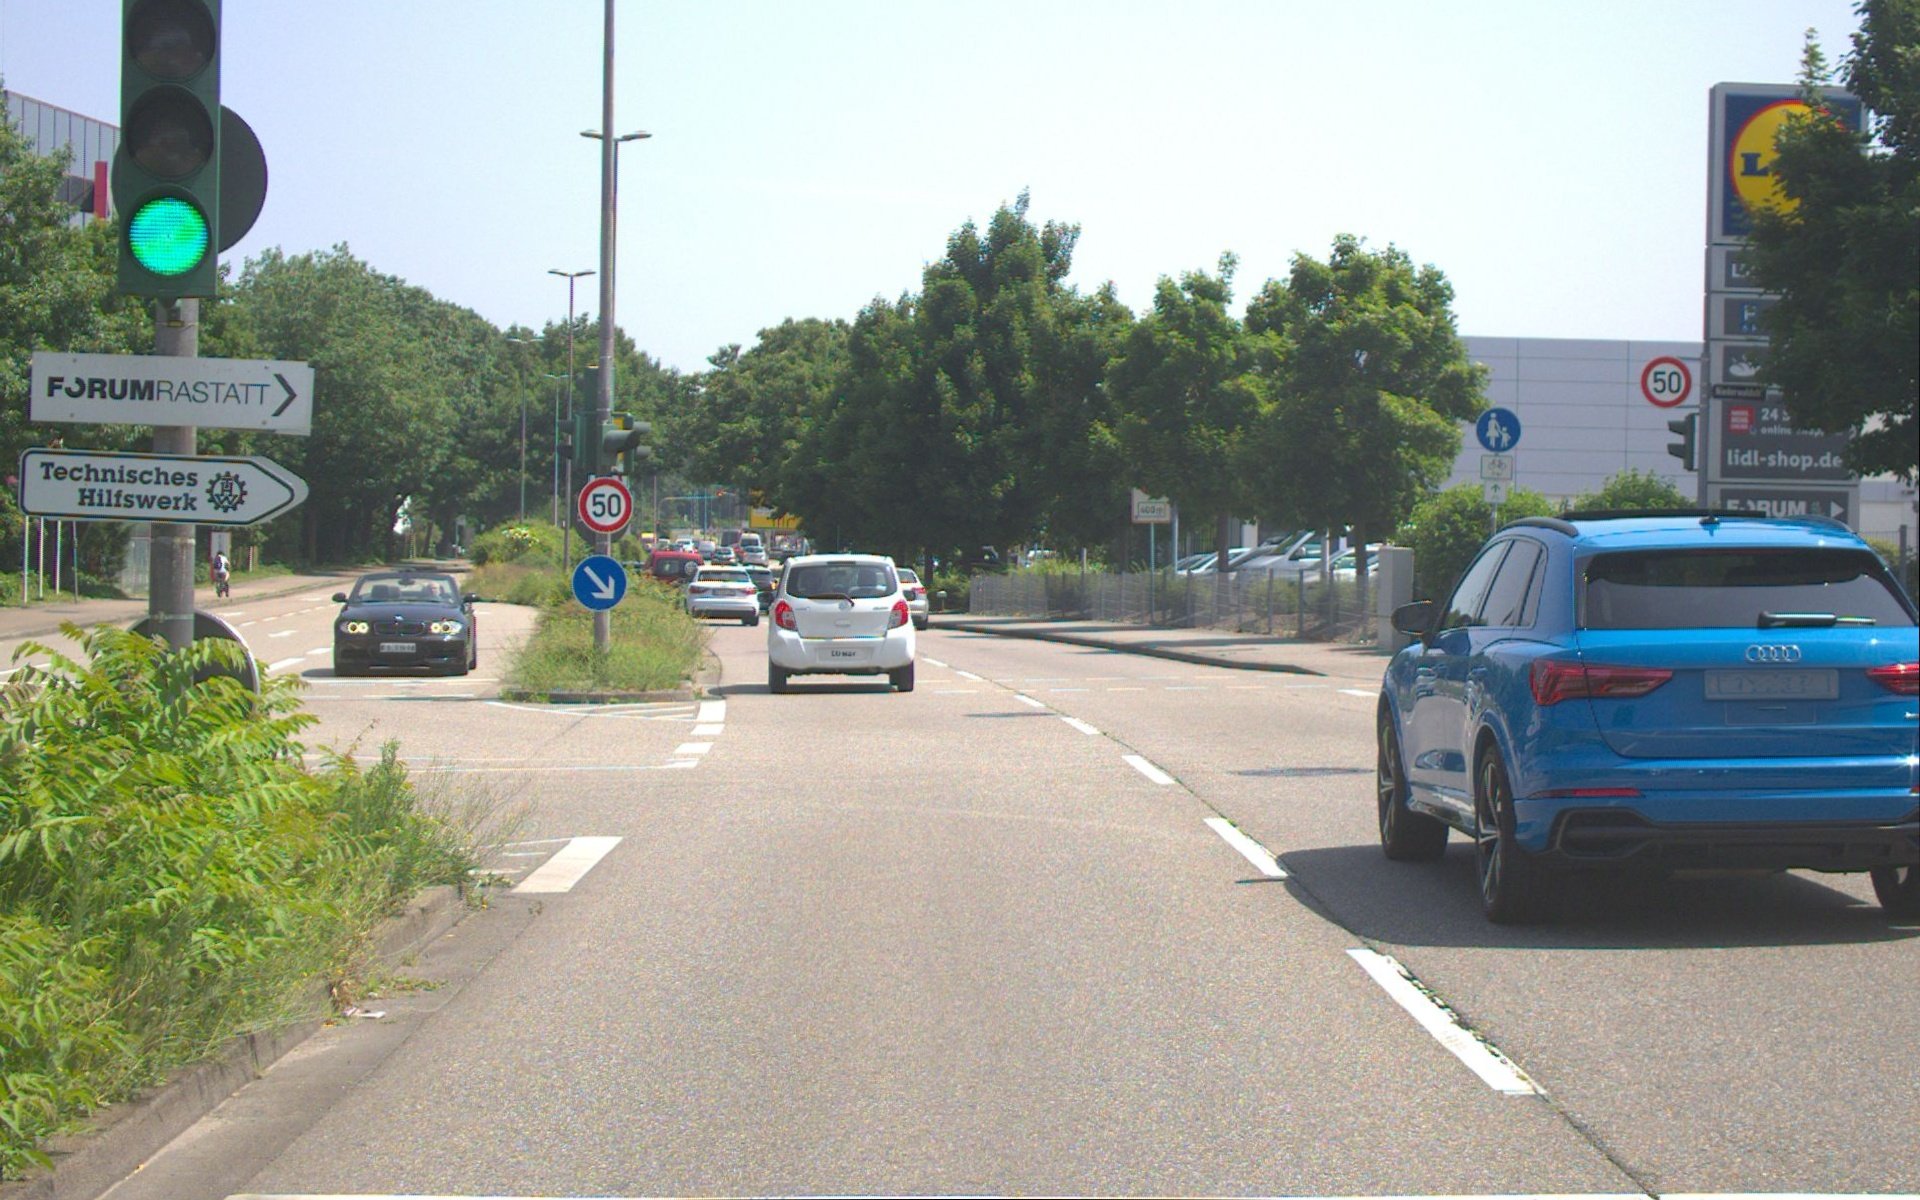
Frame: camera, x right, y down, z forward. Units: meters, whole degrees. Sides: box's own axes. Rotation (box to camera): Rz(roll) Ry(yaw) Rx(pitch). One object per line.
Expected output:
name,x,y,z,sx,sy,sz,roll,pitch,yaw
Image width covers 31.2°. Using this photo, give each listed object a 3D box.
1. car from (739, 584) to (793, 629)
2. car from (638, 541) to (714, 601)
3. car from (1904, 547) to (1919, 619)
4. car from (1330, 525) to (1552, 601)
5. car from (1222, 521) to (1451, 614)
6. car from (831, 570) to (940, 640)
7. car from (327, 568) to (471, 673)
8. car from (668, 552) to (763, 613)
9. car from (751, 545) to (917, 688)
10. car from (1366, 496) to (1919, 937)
car,-6.147,0.193,108.491,1.441,1.343,3.461,0,1,-8
car,-7.893,-0.820,95.222,1.884,1.603,4.001,0,1,-8
car,19.411,-0.315,65.241,1.621,1.389,3.718,0,1,-6
car,9.412,-0.728,67.459,3.995,1.416,1.698,1,1,-7
car,8.146,-0.708,74.625,4.615,1.918,1.827,1,1,-6
car,-1.719,0.091,77.959,1.865,1.468,4.001,2,0,-10
car,-7.368,0.241,45.421,1.729,1.319,4.150,0,1,-7
car,-5.801,-0.429,81.338,1.884,1.349,4.001,2,0,-8
car,-1.464,0.161,38.969,1.638,1.547,3.326,0,0,-6
car,2.869,0.385,14.557,1.808,1.587,4.349,0,1,0
